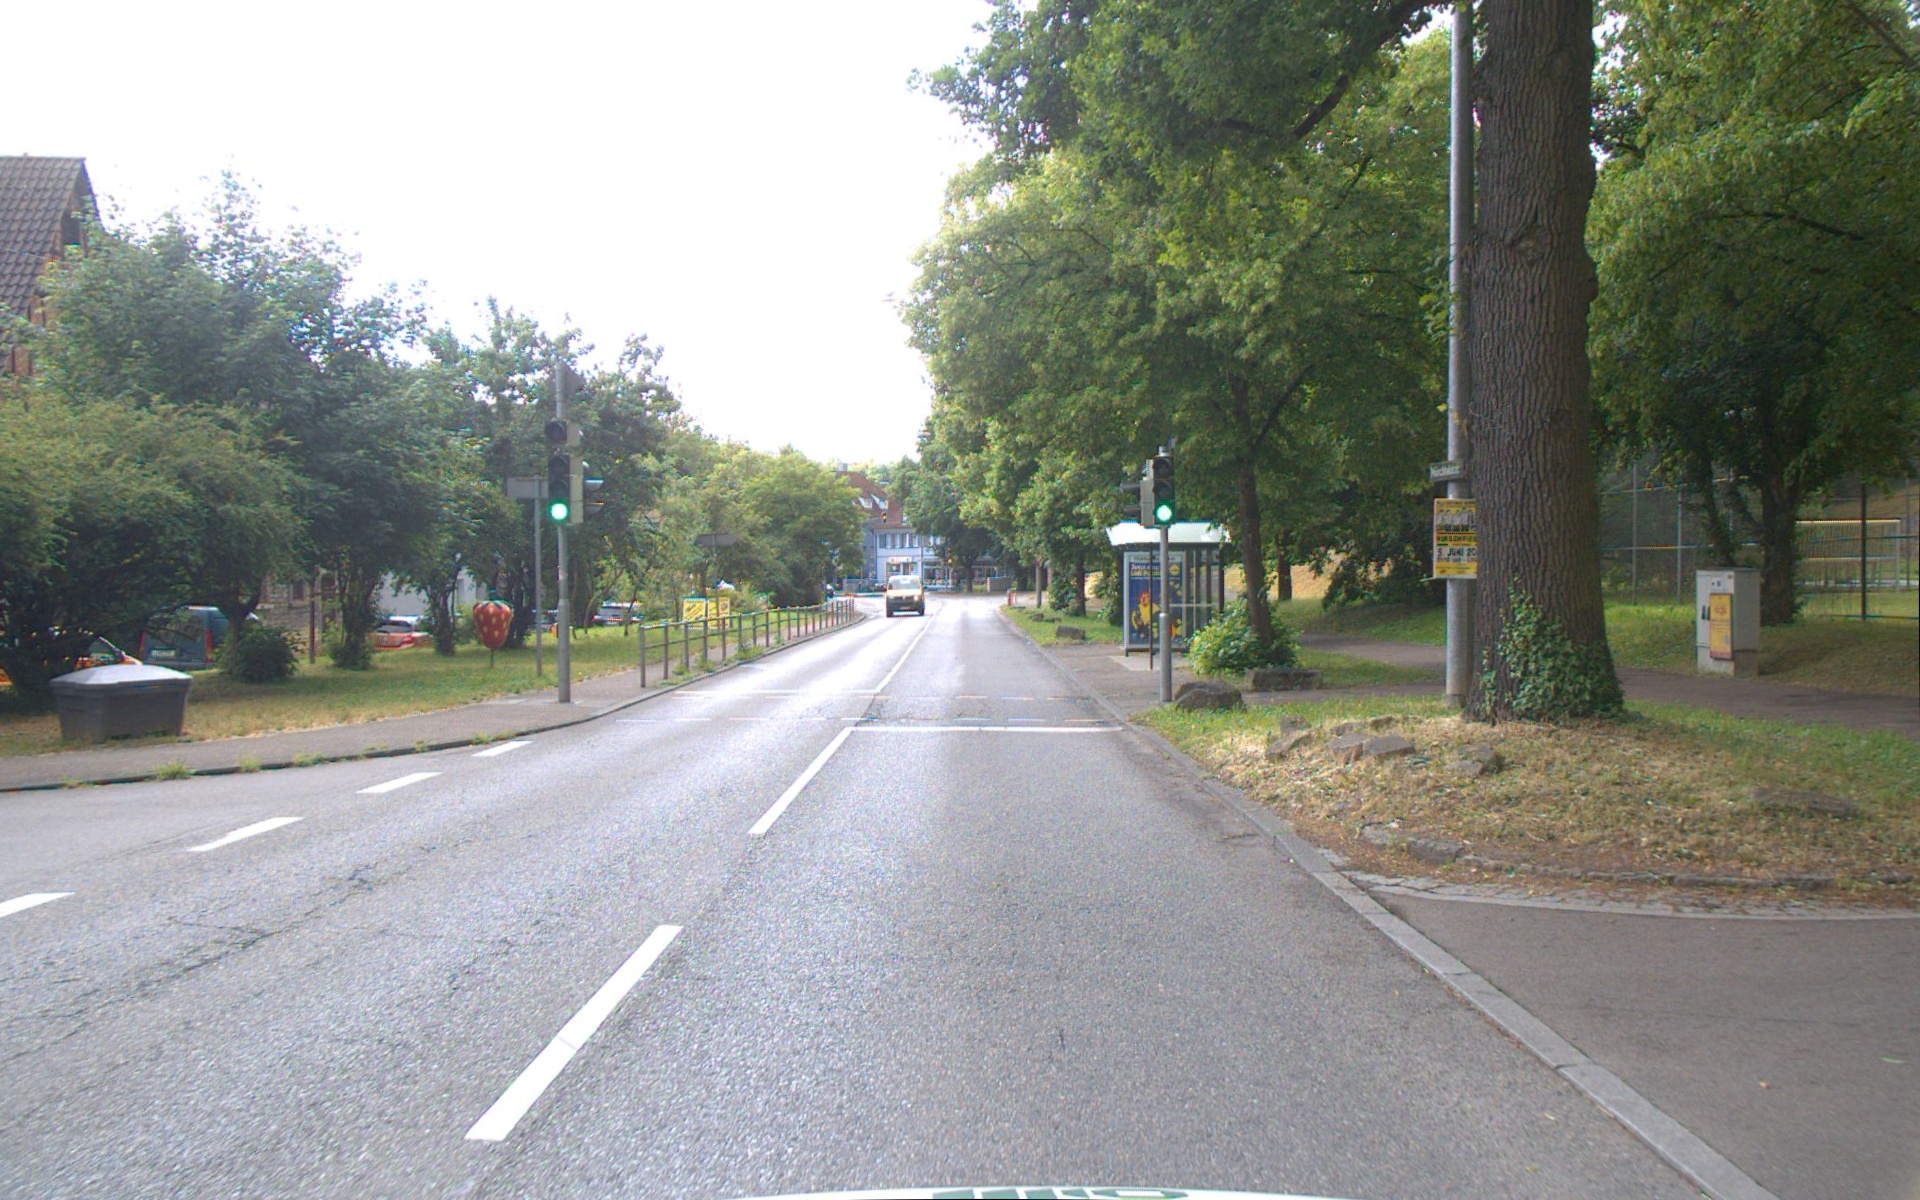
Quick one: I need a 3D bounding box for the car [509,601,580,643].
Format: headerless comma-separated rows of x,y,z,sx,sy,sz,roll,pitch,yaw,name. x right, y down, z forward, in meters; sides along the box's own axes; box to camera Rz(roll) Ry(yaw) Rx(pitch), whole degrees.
-14.010,0.724,55.853,1.520,1.300,2.556,-2,1,6,car

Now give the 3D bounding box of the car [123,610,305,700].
-15.522,1.092,34.661,1.774,1.646,4.002,-2,0,3,car

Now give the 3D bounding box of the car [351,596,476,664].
-14.582,0.761,44.343,1.774,1.646,4.002,-2,0,3,car

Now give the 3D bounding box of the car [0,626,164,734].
-16.108,1.370,29.270,1.907,1.646,4.002,-2,0,3,car

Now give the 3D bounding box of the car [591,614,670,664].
-12.843,1.501,64.656,1.880,1.724,4.003,-2,1,6,car

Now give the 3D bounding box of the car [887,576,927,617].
-2.625,-0.187,82.515,1.808,1.964,4.769,0,0,0,car
